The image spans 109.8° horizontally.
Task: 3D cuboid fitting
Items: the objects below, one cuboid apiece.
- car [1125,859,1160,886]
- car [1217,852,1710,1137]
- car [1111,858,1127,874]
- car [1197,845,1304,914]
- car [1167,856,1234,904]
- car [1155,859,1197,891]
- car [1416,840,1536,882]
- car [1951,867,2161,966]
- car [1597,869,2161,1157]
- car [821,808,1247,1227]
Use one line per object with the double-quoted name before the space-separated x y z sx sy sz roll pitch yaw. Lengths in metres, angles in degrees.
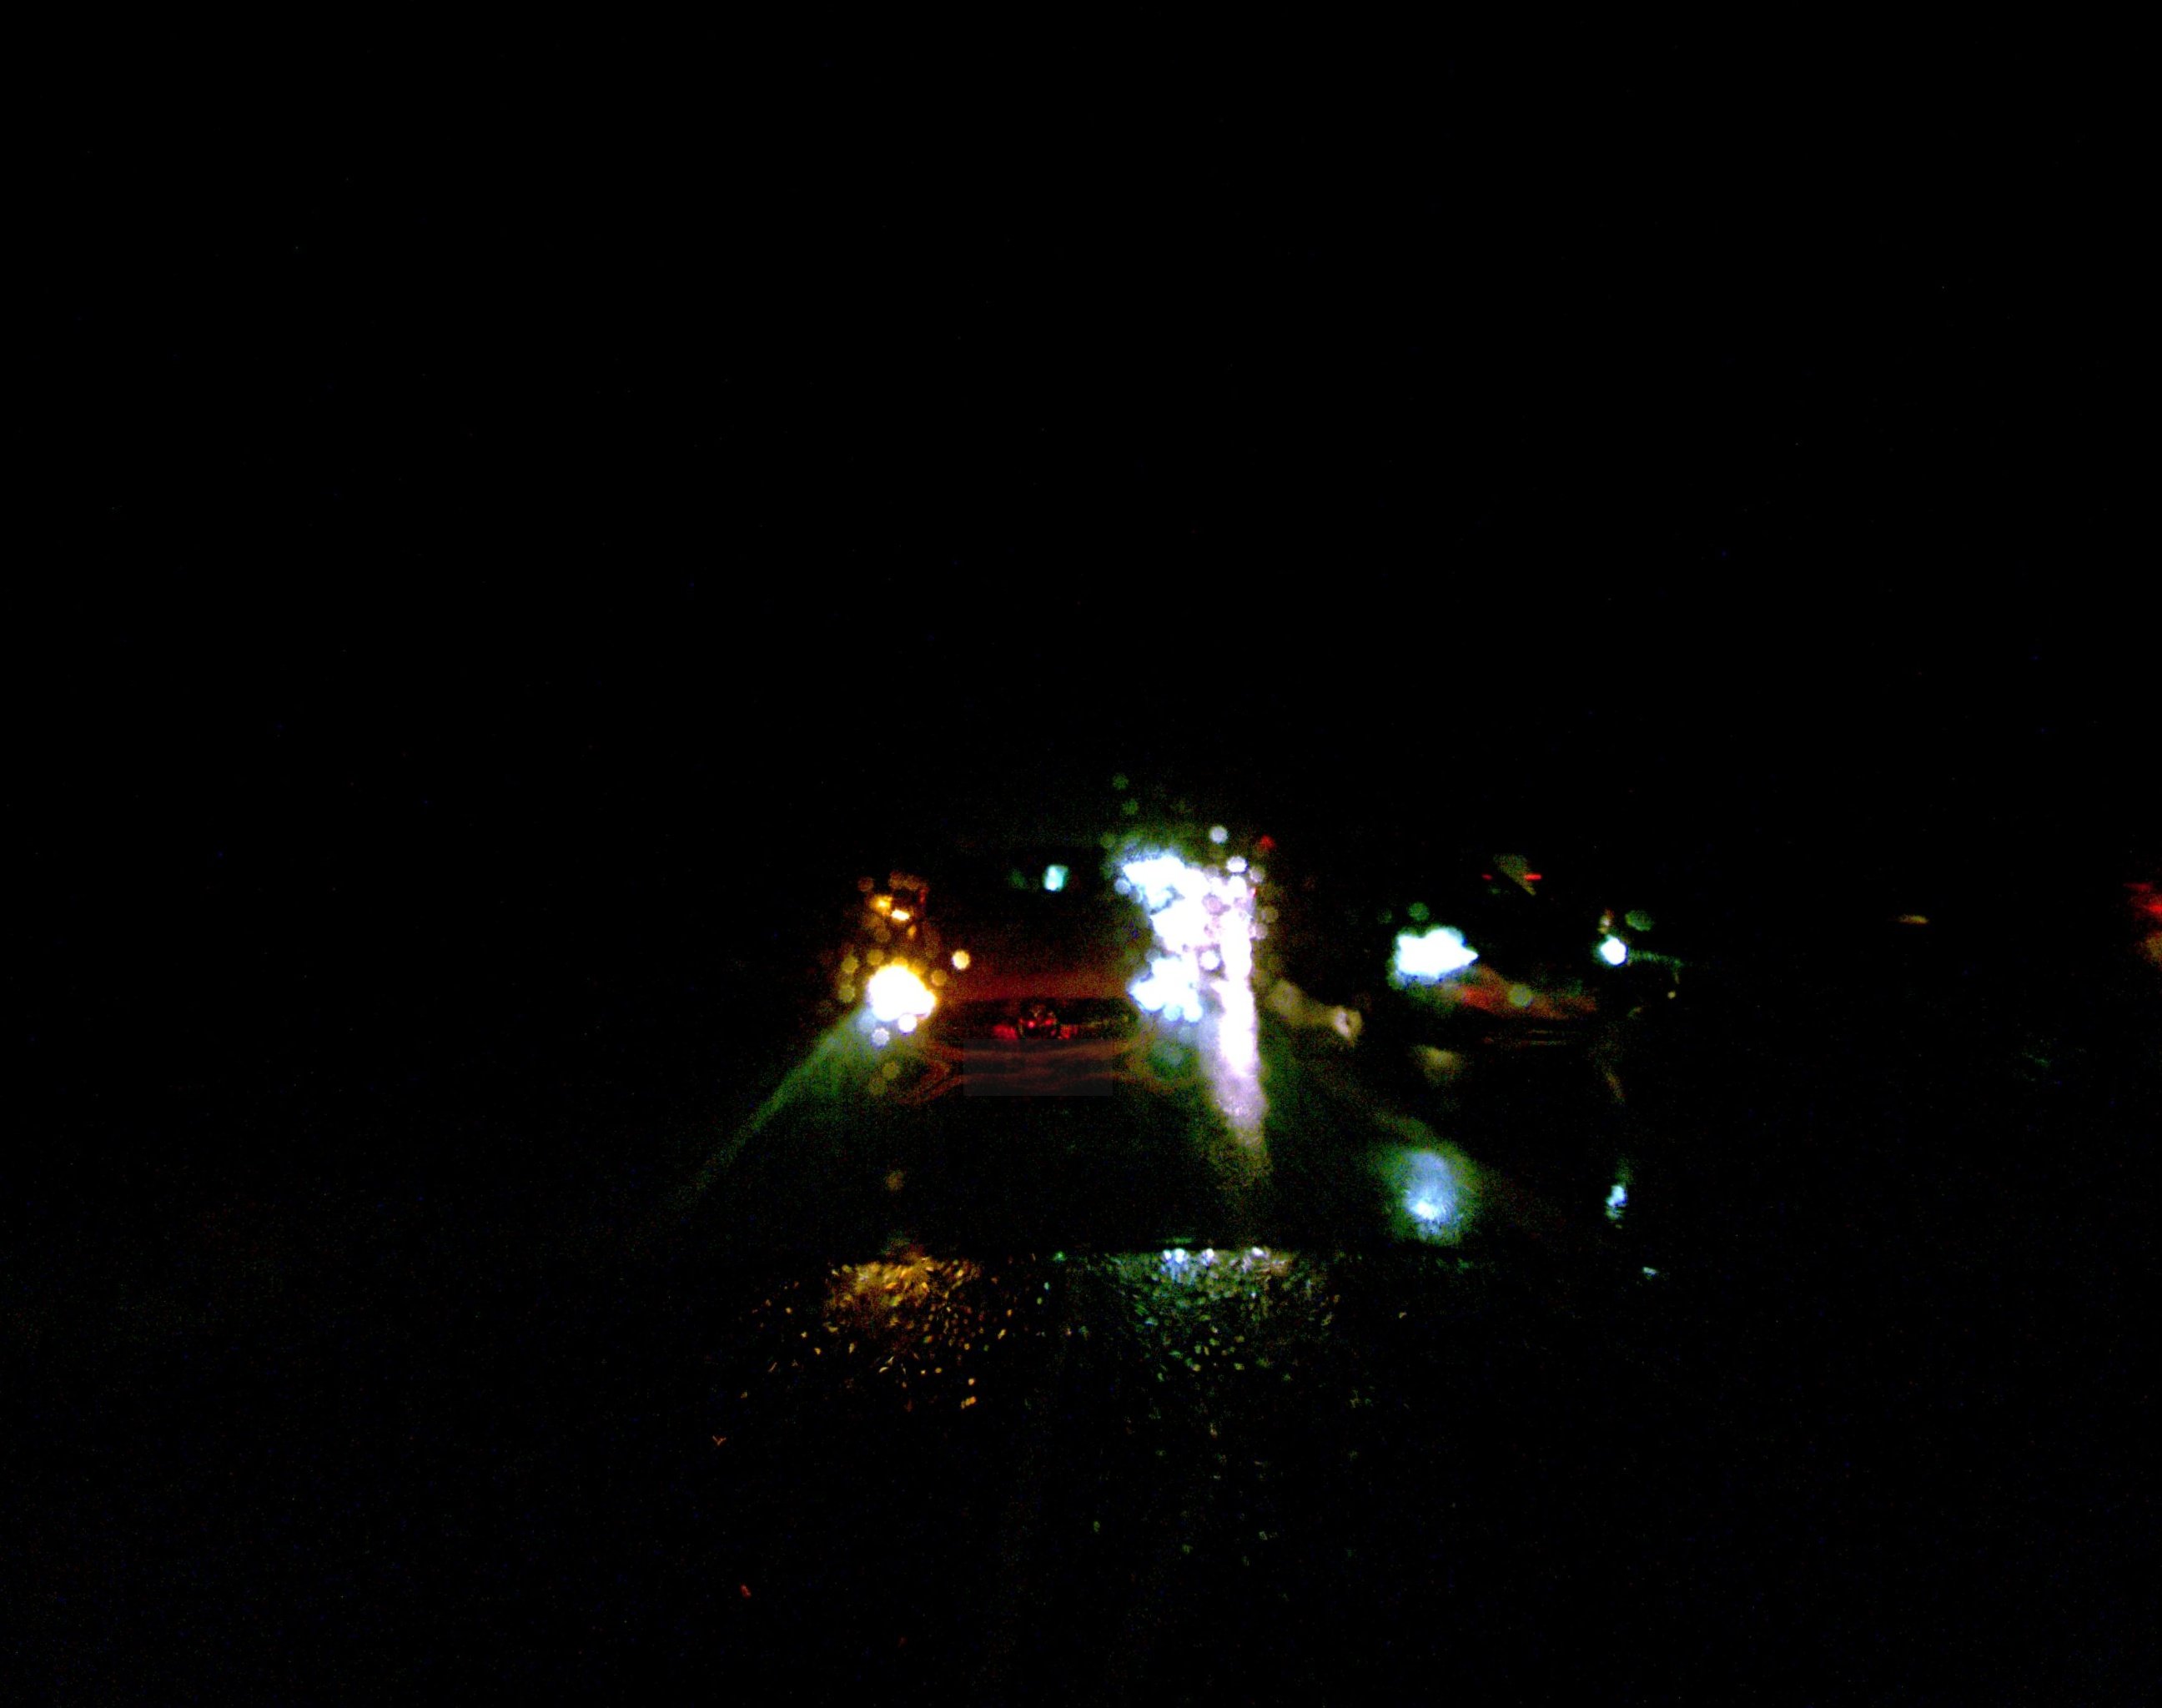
"car" 4.543 1.334 56.588 1.747 1.791 4.078 -2 1 -7
"car" 2.687 0.818 6.535 1.856 1.582 4.020 -2 1 -7
"car" 4.670 1.493 94.855 1.781 1.820 4.557 -2 1 1
"car" 4.929 0.652 22.834 1.999 1.783 4.720 -2 1 -2
"car" 4.543 0.943 29.444 1.788 1.586 4.236 -2 1 -2
"car" 4.925 1.068 39.875 1.680 1.437 4.174 -2 1 0
"car" 14.618 0.279 28.443 1.742 1.428 4.470 -1 0 -7
"car" 16.212 0.924 11.424 1.637 1.289 3.879 -2 1 -6
"car" 6.305 0.860 5.671 1.741 1.428 4.289 -1 0 -5
"car" -0.476 0.735 5.831 2.004 1.914 4.365 -2 1 -8
